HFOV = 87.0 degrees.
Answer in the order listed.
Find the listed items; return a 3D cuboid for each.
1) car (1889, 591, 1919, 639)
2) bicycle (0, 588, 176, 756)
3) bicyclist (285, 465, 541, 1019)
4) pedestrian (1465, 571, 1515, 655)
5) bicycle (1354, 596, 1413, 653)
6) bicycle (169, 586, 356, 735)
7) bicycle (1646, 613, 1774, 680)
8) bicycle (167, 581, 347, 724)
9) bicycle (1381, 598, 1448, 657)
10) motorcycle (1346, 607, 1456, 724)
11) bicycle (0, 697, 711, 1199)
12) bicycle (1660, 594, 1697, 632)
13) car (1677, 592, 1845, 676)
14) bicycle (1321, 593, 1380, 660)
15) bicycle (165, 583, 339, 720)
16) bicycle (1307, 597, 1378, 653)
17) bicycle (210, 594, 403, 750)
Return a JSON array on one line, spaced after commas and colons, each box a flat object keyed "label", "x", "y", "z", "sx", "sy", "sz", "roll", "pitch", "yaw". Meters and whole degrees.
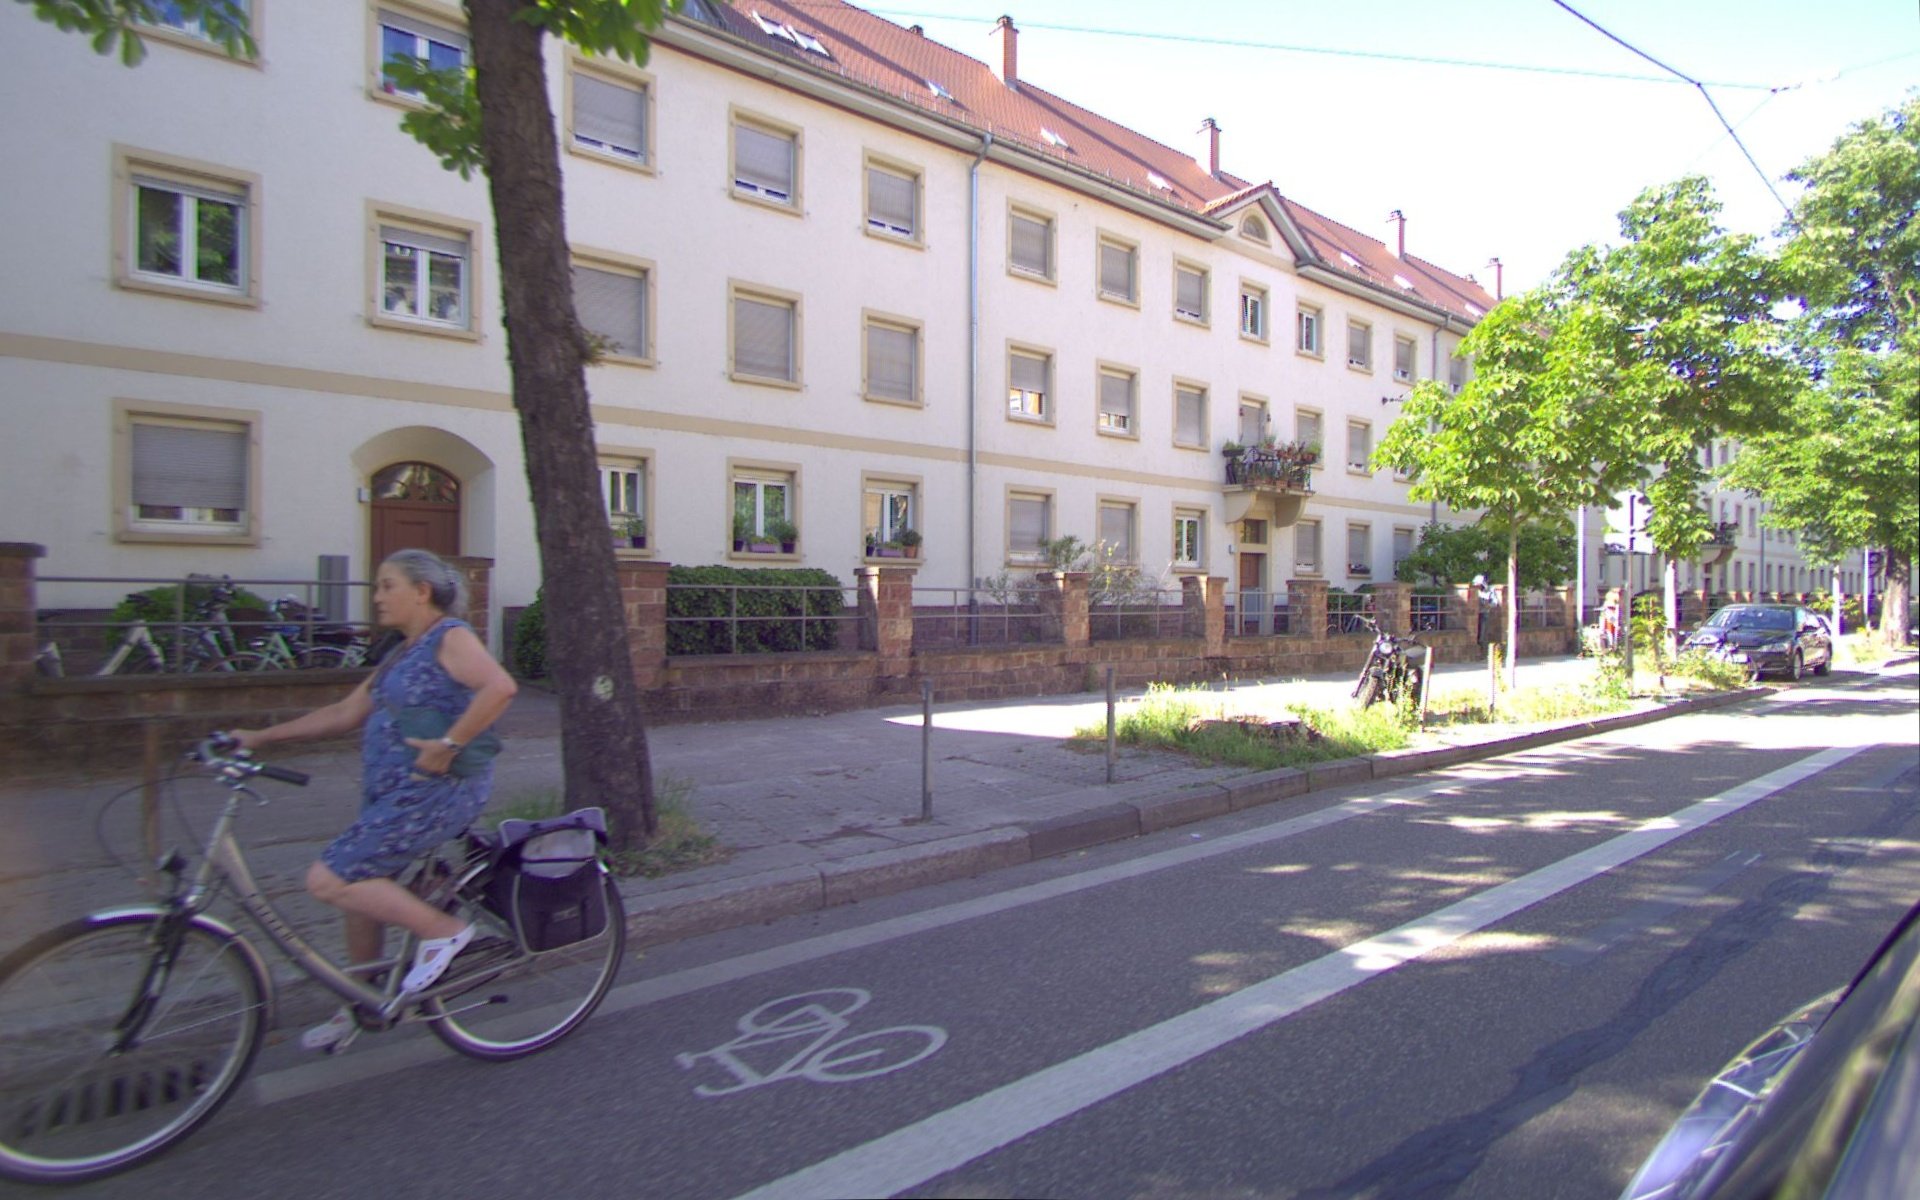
[{"label": "car", "x": 31.933, "y": 0.486, "z": 33.116, "sx": 4.171, "sy": 1.492, "sz": 1.723, "roll": 0, "pitch": 1, "yaw": -40}, {"label": "bicycle", "x": -6.918, "y": 0.530, "z": 7.828, "sx": 1.348, "sy": 1.238, "sz": 0.435, "roll": 0, "pitch": -1, "yaw": -39}, {"label": "bicyclist", "x": -1.717, "y": 0.382, "z": 3.163, "sx": 0.604, "sy": 1.487, "sz": 0.636, "roll": 0, "pitch": -2, "yaw": -38}, {"label": "pedestrian", "x": 11.205, "y": 0.273, "z": 21.413, "sx": 0.568, "sy": 1.747, "sz": 0.766, "roll": -1, "pitch": -1, "yaw": -9}, {"label": "bicycle", "x": 8.901, "y": 0.505, "z": 21.268, "sx": 1.546, "sy": 1.167, "sz": 0.441, "roll": 0, "pitch": -1, "yaw": -39}, {"label": "bicycle", "x": -6.188, "y": 0.506, "z": 9.016, "sx": 1.348, "sy": 1.238, "sz": 0.435, "roll": 0, "pitch": -1, "yaw": -39}, {"label": "bicycle", "x": 13.723, "y": 0.832, "z": 18.556, "sx": 0.610, "sy": 1.080, "sz": 1.795, "roll": 0, "pitch": 2, "yaw": -43}, {"label": "bicycle", "x": -6.508, "y": 0.458, "z": 9.400, "sx": 1.348, "sy": 1.238, "sz": 0.435, "roll": 0, "pitch": -1, "yaw": -39}, {"label": "bicycle", "x": 9.356, "y": 0.543, "z": 20.788, "sx": 1.882, "sy": 1.167, "sz": 0.449, "roll": 0, "pitch": 0, "yaw": -39}, {"label": "motorcycle", "x": 5.077, "y": 0.705, "z": 11.603, "sx": 0.495, "sy": 1.205, "sz": 1.832, "roll": 5, "pitch": 3, "yaw": 43}, {"label": "bicycle", "x": -1.790, "y": 0.941, "z": 3.101, "sx": 1.882, "sy": 1.127, "sz": 0.693, "roll": 0, "pitch": -1, "yaw": -39}, {"label": "bicycle", "x": 24.126, "y": 0.436, "z": 33.974, "sx": 1.710, "sy": 1.236, "sz": 0.544, "roll": 0, "pitch": 1, "yaw": -39}, {"label": "car", "x": 15.910, "y": 0.595, "z": 20.037, "sx": 3.971, "sy": 1.482, "sz": 1.791, "roll": 0, "pitch": 1, "yaw": -39}, {"label": "bicycle", "x": 7.731, "y": 0.509, "z": 20.027, "sx": 1.398, "sy": 1.277, "sz": 0.349, "roll": 0, "pitch": -1, "yaw": -35}, {"label": "bicycle", "x": -6.816, "y": 0.466, "z": 9.773, "sx": 1.348, "sy": 1.238, "sz": 0.435, "roll": 0, "pitch": -1, "yaw": -39}, {"label": "bicycle", "x": 8.275, "y": 0.521, "z": 21.863, "sx": 1.882, "sy": 1.167, "sz": 0.545, "roll": 0, "pitch": -1, "yaw": -39}, {"label": "bicycle", "x": -5.538, "y": 0.571, "z": 8.617, "sx": 1.348, "sy": 1.238, "sz": 0.435, "roll": 0, "pitch": -1, "yaw": -39}]
